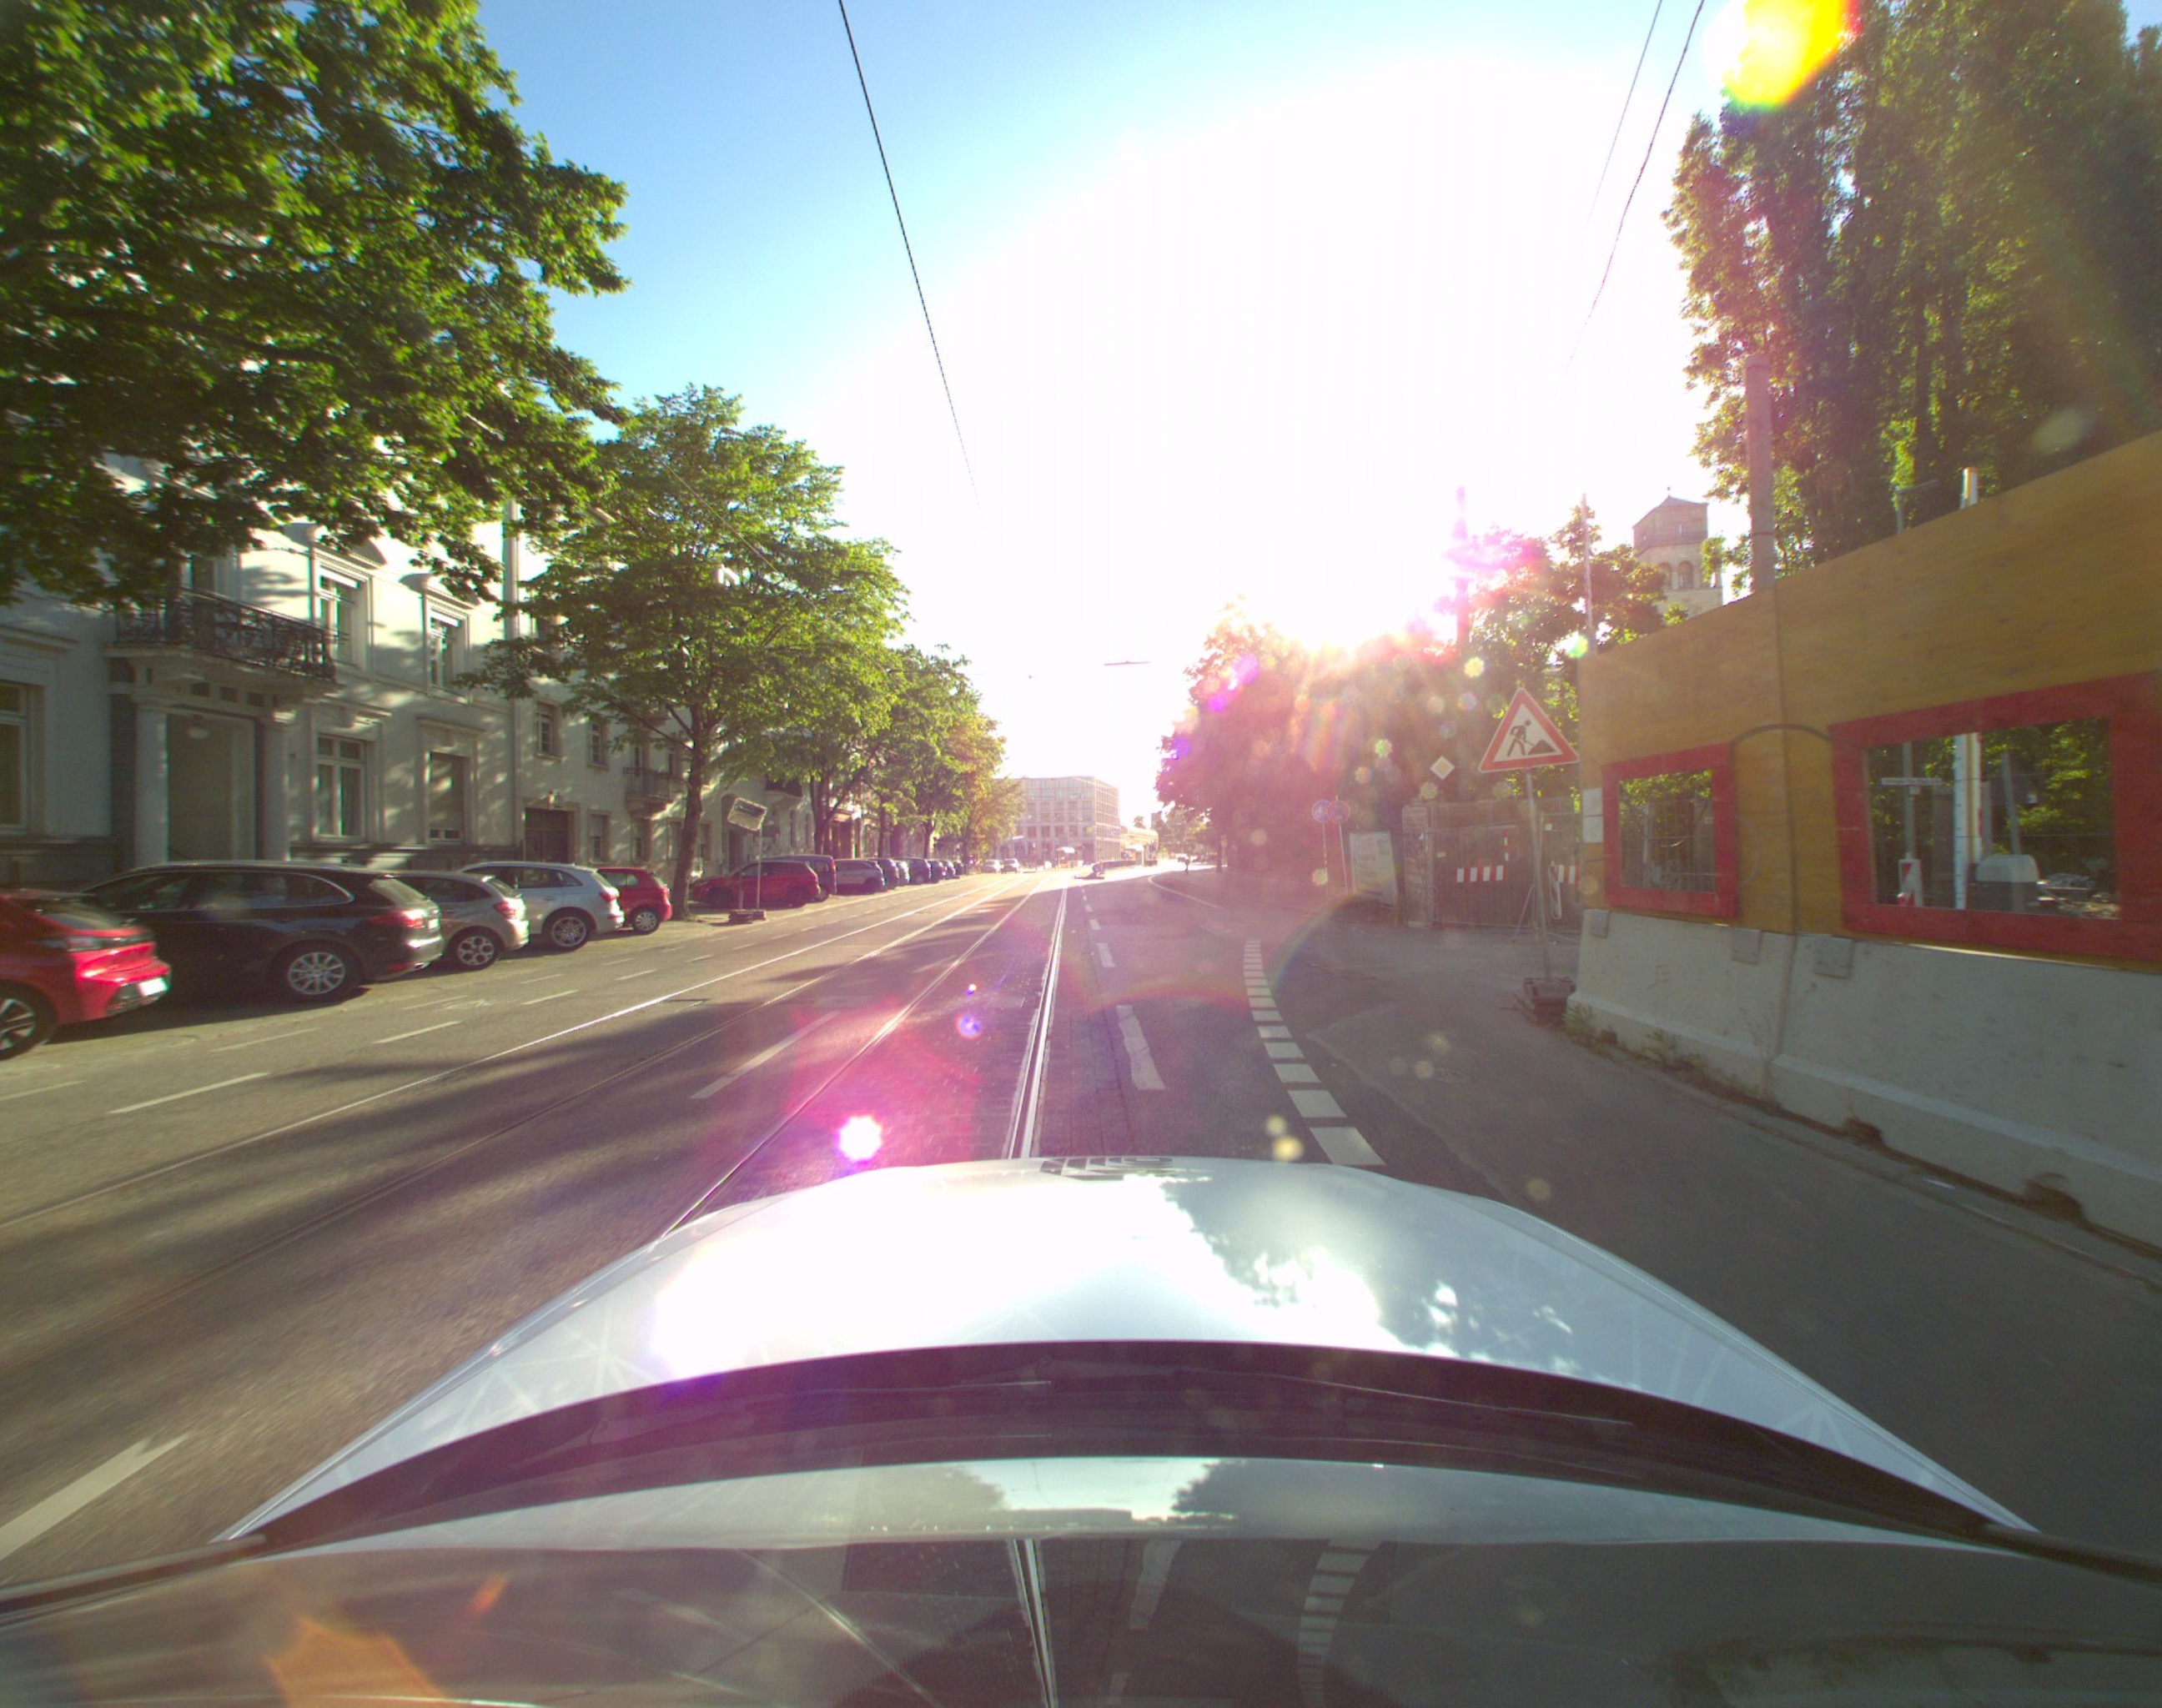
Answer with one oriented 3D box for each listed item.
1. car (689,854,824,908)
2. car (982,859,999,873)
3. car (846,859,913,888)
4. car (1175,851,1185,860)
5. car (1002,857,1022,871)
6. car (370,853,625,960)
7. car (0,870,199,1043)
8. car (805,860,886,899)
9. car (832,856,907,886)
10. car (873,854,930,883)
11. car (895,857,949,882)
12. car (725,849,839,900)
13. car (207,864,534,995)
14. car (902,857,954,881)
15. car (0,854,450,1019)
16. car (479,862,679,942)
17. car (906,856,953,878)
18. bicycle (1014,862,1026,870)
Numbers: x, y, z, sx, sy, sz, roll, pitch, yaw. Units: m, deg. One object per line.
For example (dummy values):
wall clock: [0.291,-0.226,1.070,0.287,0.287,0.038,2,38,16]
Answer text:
car: [-11.183,0.882,28.151,4.184,1.721,1.569,-1,0,-28]
car: [-10.461,1.409,94.496,1.568,1.490,3.999,-1,0,0]
car: [-10.820,1.028,43.742,3.285,1.484,1.459,-1,0,-23]
car: [23.303,0.342,191.200,1.980,2.013,4.015,-1,0,13]
car: [-7.709,1.112,91.075,1.551,1.530,4.004,-1,0,3]
car: [-10.809,0.886,15.321,3.702,1.721,1.594,-1,0,-36]
car: [-10.562,0.861,6.860,3.929,1.453,1.621,1,-1,-34]
car: [-10.938,1.165,37.880,3.393,1.697,1.392,-1,-1,-29]
car: [-10.655,0.846,41.030,3.393,1.420,1.392,-1,0,-29]
car: [-11.204,0.913,50.893,3.285,1.698,1.459,-1,0,-23]
car: [-10.646,1.032,54.443,3.285,1.585,1.459,-1,0,-23]
car: [-11.436,0.763,31.213,3.853,1.832,1.715,1,-1,-31]
car: [-10.633,1.028,12.578,3.581,1.662,1.719,-1,0,-34]
car: [-10.620,1.026,56.446,3.285,1.585,1.459,-1,0,-23]
car: [-10.205,0.900,9.895,3.692,1.722,1.598,1,-1,-26]
car: [-11.238,1.003,18.354,3.702,1.527,1.467,-1,0,-36]
car: [-11.495,1.001,61.726,3.285,1.585,1.459,-1,0,-23]
bicycle: [-9.594,1.883,128.364,1.793,1.224,0.597,-1,0,-10]
